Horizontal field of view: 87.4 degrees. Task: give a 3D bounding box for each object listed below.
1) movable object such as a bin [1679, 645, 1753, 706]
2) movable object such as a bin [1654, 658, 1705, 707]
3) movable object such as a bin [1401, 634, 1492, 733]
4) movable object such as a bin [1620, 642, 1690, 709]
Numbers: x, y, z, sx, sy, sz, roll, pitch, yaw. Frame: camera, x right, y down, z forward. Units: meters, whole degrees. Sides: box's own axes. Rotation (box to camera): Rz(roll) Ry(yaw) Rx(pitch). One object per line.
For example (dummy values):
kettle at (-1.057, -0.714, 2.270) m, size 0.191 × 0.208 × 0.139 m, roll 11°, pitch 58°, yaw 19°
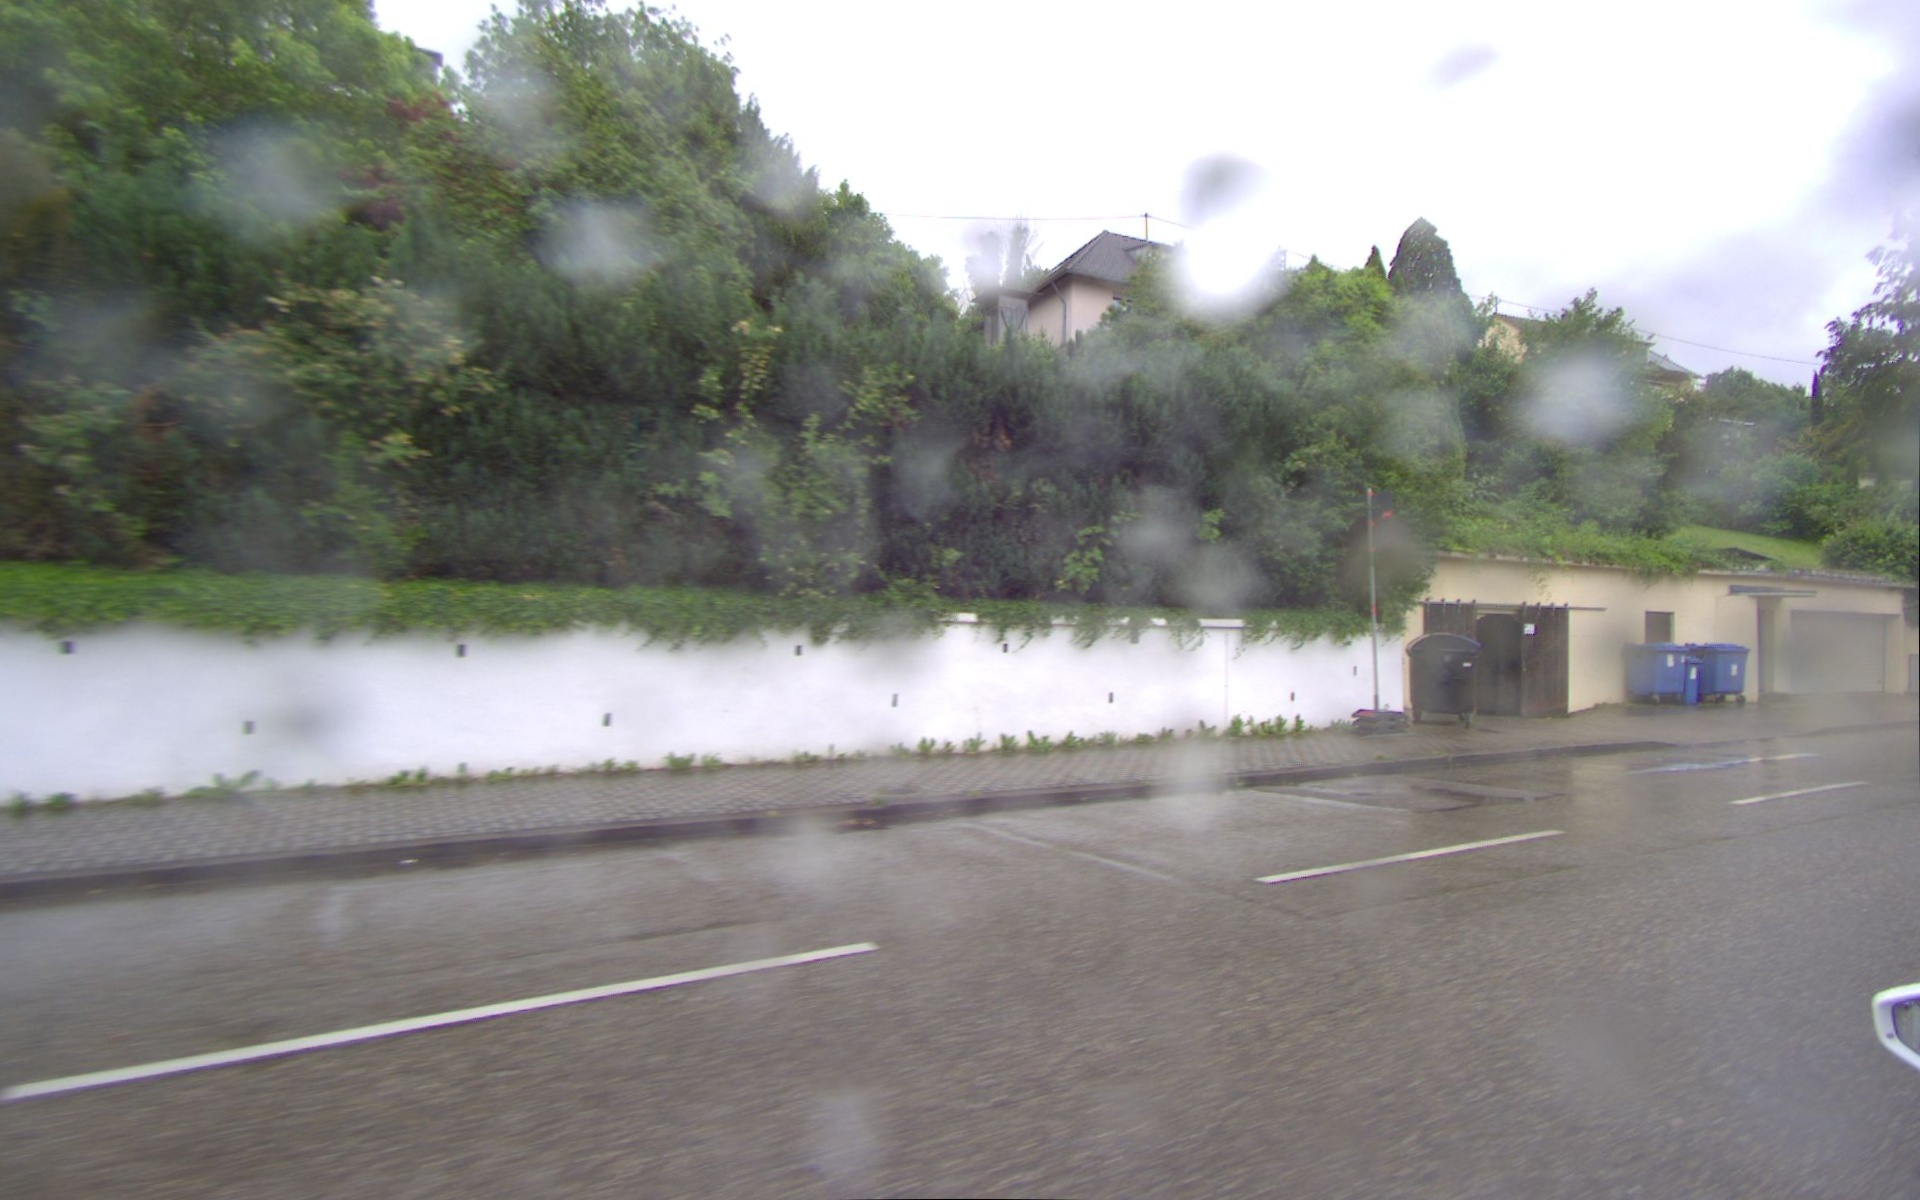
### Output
movable object such as a bin at (17.507, 1.729, 23.255) m, size 1.383 × 1.332 × 0.818 m, roll 0°, pitch -1°, yaw -26°
movable object such as a bin at (16.308, 1.865, 22.773) m, size 0.599 × 1.056 × 0.733 m, roll 1°, pitch -1°, yaw -25°
movable object such as a bin at (7.696, 1.305, 15.905) m, size 0.852 × 1.464 × 0.928 m, roll 2°, pitch 0°, yaw -31°
movable object such as a bin at (15.414, 1.654, 22.276) m, size 1.119 × 1.400 × 0.818 m, roll 0°, pitch -1°, yaw -26°
